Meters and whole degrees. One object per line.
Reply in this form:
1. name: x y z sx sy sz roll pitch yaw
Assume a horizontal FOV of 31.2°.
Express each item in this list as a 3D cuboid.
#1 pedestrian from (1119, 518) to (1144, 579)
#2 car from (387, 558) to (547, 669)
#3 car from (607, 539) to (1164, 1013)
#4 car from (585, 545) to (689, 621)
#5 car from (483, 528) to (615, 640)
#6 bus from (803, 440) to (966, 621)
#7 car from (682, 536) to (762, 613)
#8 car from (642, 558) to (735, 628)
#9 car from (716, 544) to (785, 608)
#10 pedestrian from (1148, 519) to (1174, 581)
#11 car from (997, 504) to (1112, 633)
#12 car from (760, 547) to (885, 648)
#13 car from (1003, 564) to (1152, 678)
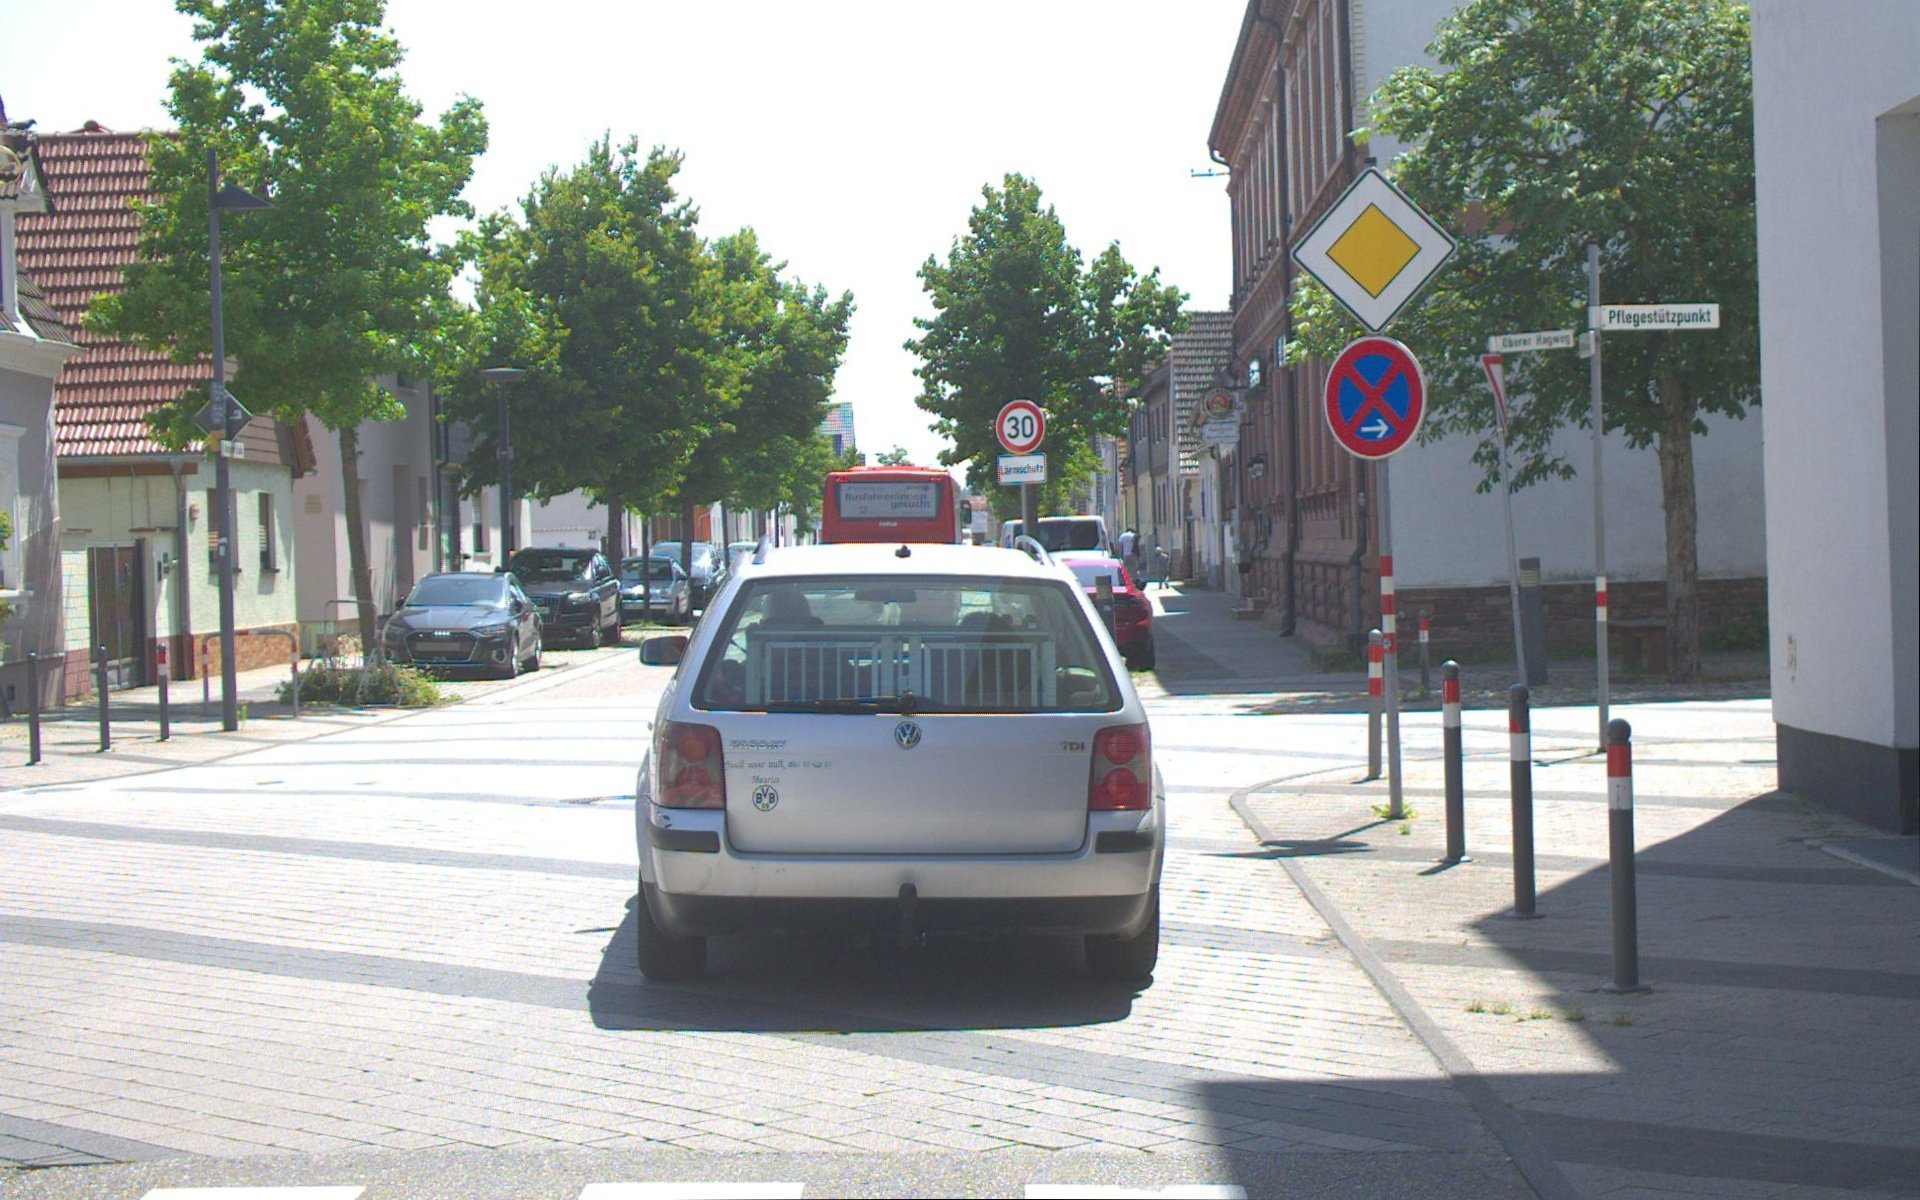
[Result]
1. pedestrian: 4.724 -1.425 94.675 0.606 1.661 0.789 -2 1 -1
2. car: -6.827 0.157 47.952 1.605 1.433 4.065 -2 1 0
3. car: -0.212 0.507 12.202 1.677 1.425 3.679 0 1 0
4. car: -6.940 -0.386 74.277 1.811 1.553 4.000 -2 1 0
5. car: -7.087 -0.296 59.561 1.764 1.831 3.789 -2 1 0
6. bus: -1.384 -1.341 69.746 2.740 3.287 12.705 -1 1 1
7. car: -6.425 -0.696 93.008 1.811 1.989 4.000 -2 1 0
8. car: -6.378 -0.174 81.008 1.811 1.553 4.000 -2 1 0
9. car: -6.100 -0.711 100.571 1.720 1.796 4.000 -2 1 0
10. pedestrian: 5.509 -1.370 94.266 0.606 1.661 0.789 -2 1 -1
11. car: 1.572 -0.543 58.337 1.788 2.075 3.626 -2 1 0
12. car: -1.992 -0.061 50.517 1.593 1.425 3.679 0 1 1
13. car: 1.437 0.234 43.141 1.719 1.304 3.626 -2 1 0
